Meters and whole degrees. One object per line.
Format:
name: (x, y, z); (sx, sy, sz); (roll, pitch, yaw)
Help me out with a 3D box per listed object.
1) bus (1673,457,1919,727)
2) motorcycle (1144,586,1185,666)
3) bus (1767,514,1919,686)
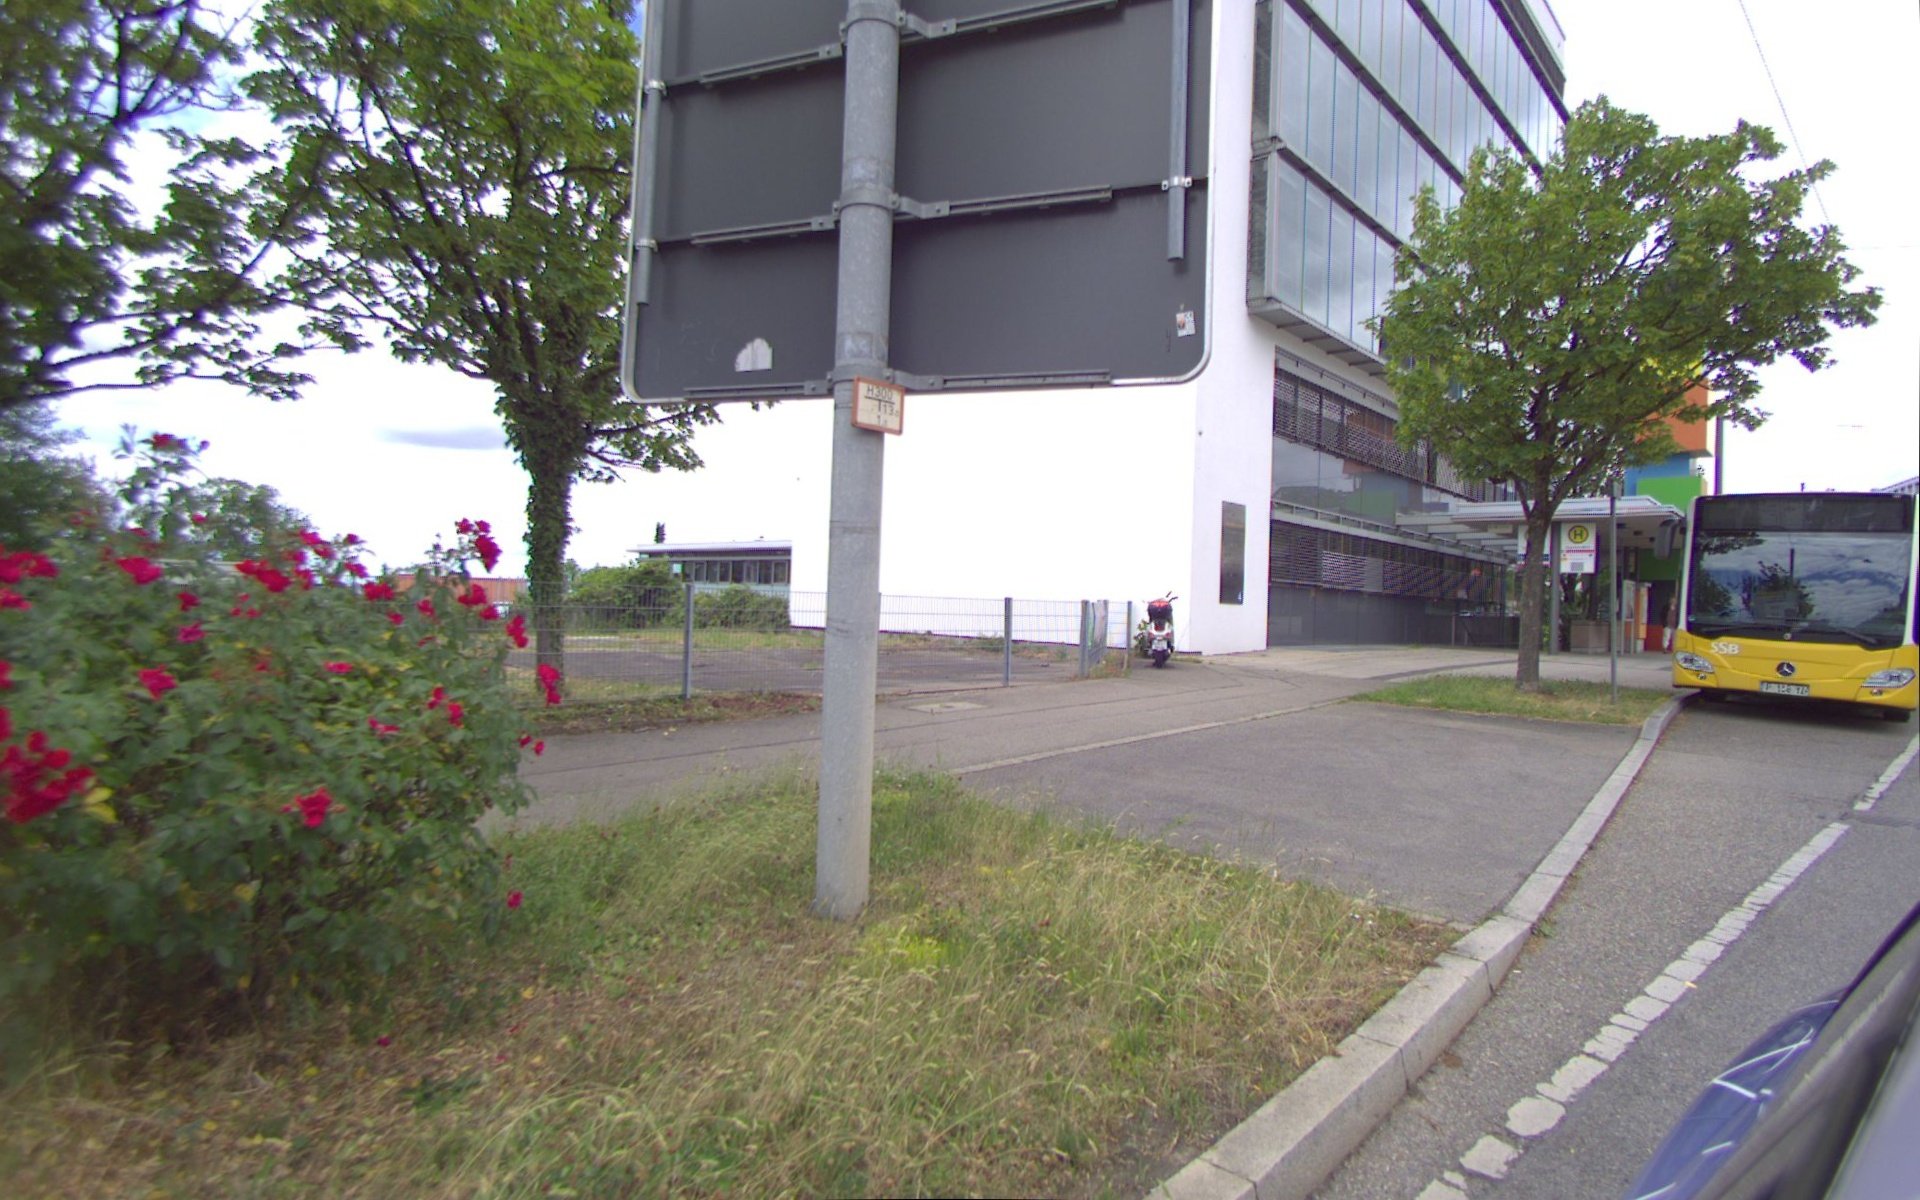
bus: (13.842, -0.098, 15.928); (2.714, 3.203, 8.979); (4, 2, 45)
motorcycle: (3.353, 0.390, 16.491); (0.575, 1.237, 1.575); (1, 1, 14)
bus: (20.024, 0.019, 22.234); (2.713, 3.148, 8.727); (2, 1, 44)
